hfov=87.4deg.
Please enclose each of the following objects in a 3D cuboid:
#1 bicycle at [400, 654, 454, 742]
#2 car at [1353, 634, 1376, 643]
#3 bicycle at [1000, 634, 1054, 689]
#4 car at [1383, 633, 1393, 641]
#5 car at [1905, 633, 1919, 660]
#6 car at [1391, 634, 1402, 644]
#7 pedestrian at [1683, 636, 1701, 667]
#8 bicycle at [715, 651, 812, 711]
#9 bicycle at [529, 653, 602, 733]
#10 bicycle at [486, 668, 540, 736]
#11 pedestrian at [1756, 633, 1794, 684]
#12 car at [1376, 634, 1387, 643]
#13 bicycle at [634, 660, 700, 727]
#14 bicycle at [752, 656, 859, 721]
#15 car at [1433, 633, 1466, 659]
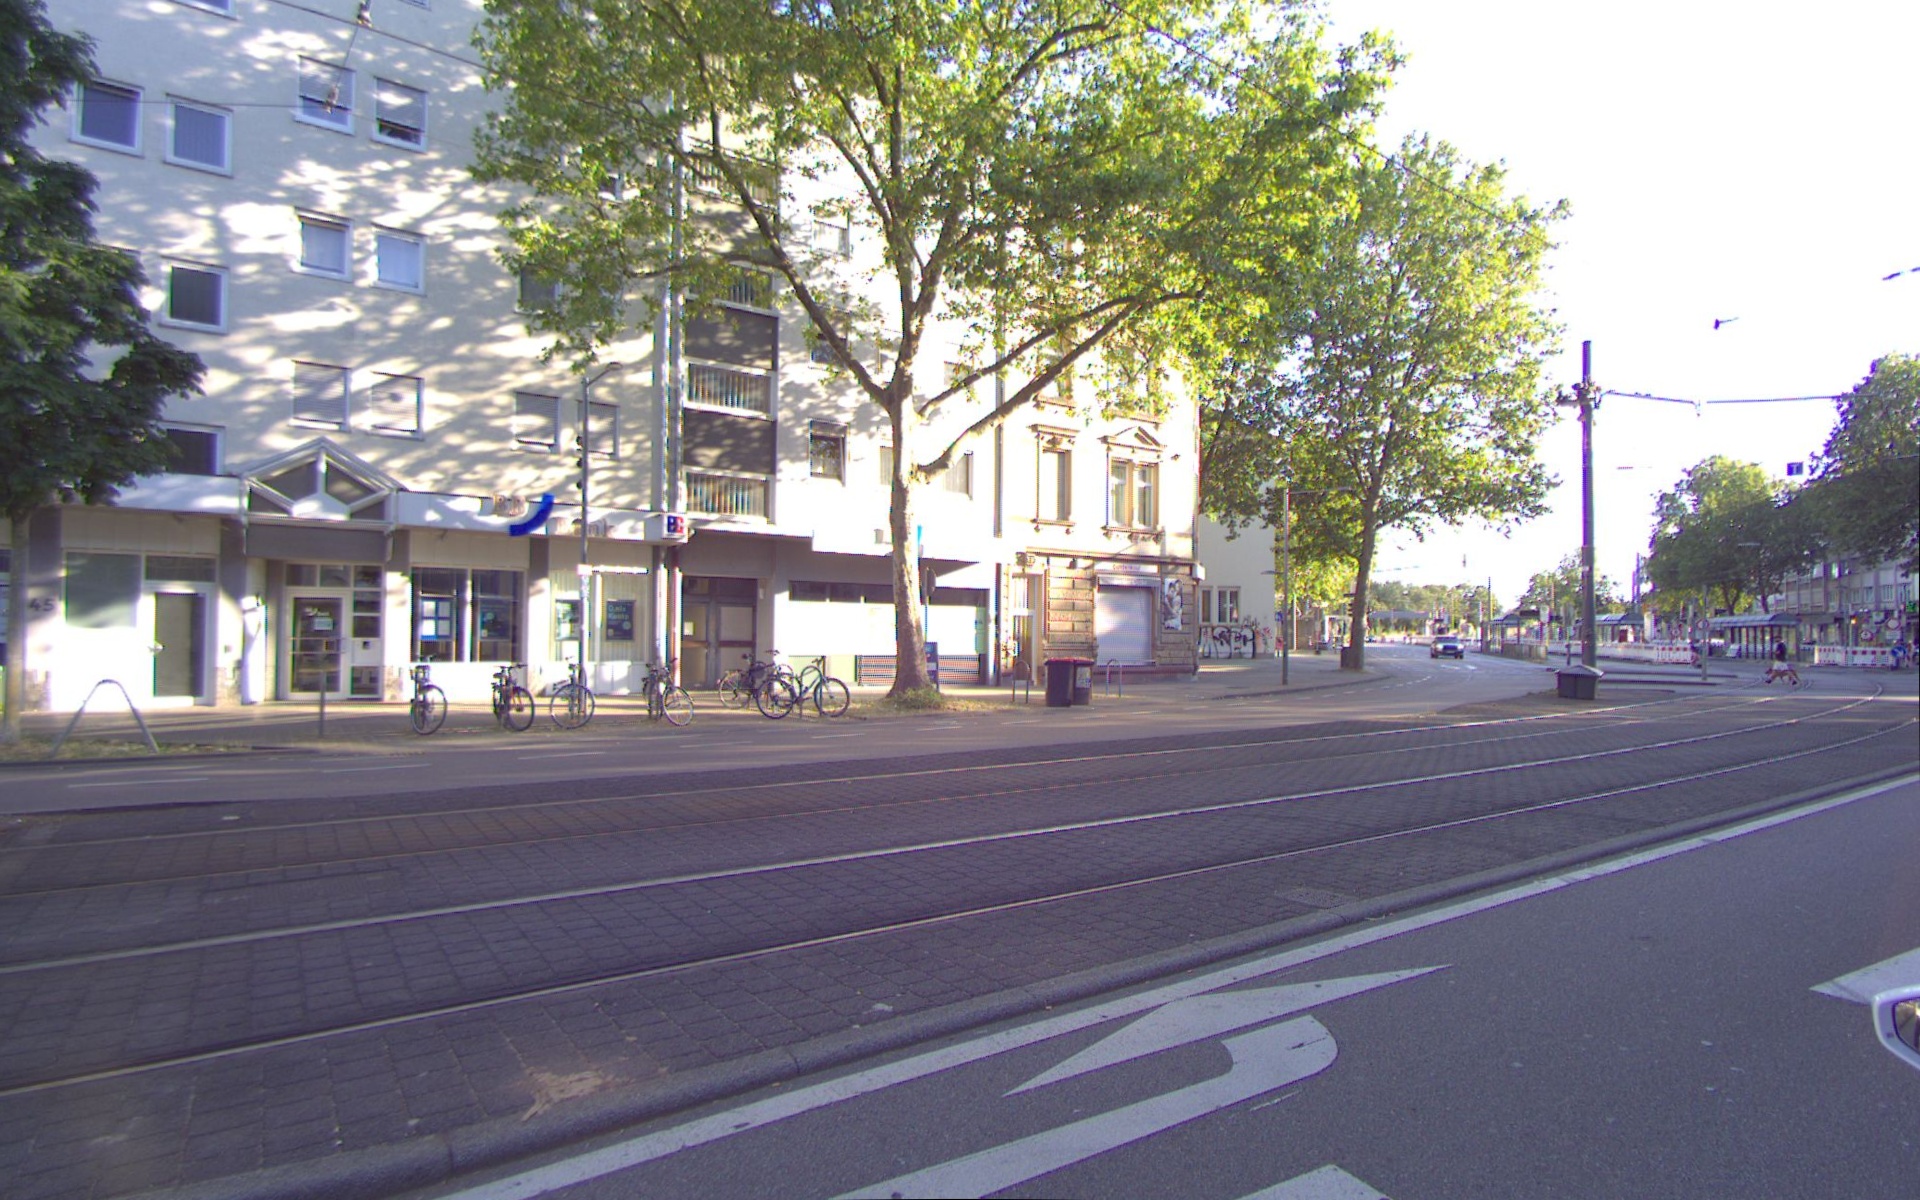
[{"bbox_3d":[-7.834,1.401,14.744,0.506,1.153,1.729,2,-1,-34],"label":"bicycle"},{"bbox_3d":[78.239,7.384,194.276,3.919,1.661,1.792,0,-2,13],"label":"car"},{"bbox_3d":[1.837,1.676,27.813,0.469,1.430,1.956,1,-1,-29],"label":"bicycle"},{"bbox_3d":[89.571,7.752,210.270,1.814,1.706,3.716,0,-2,23],"label":"car"},{"bbox_3d":[64.576,3.108,66.145,1.960,1.815,4.000,2,-1,20],"label":"car"},{"bbox_3d":[78.773,7.040,181.338,1.814,1.706,3.715,-2,-2,23],"label":"car"},{"bbox_3d":[39.936,2.788,54.810,0.645,1.678,0.444,0,-2,18],"label":"pedestrian"},{"bbox_3d":[-3.908,1.595,20.004,1.777,1.132,0.617,2,-2,-29],"label":"bicycle"},{"bbox_3d":[-6.338,1.450,16.083,0.724,1.128,1.729,2,-1,-34],"label":"bicycle"},{"bbox_3d":[-6.933,1.548,15.532,0.467,0.900,1.729,2,-1,-34],"label":"bicycle"},{"bbox_3d":[28.306,2.018,34.875,0.510,1.750,0.893,1,-2,-27],"label":"pedestrian"},{"bbox_3d":[79.453,7.205,189.321,1.814,1.706,3.716,0,-2,23],"label":"car"},{"bbox_3d":[-5.024,1.570,17.164,0.584,1.002,1.729,2,-1,-34],"label":"bicycle"},{"bbox_3d":[-2.785,1.573,18.135,1.800,1.091,0.649,2,-2,-29],"label":"bicycle"},{"bbox_3d":[32.976,3.106,67.697,1.962,1.661,3.997,0,-2,25],"label":"car"}]
